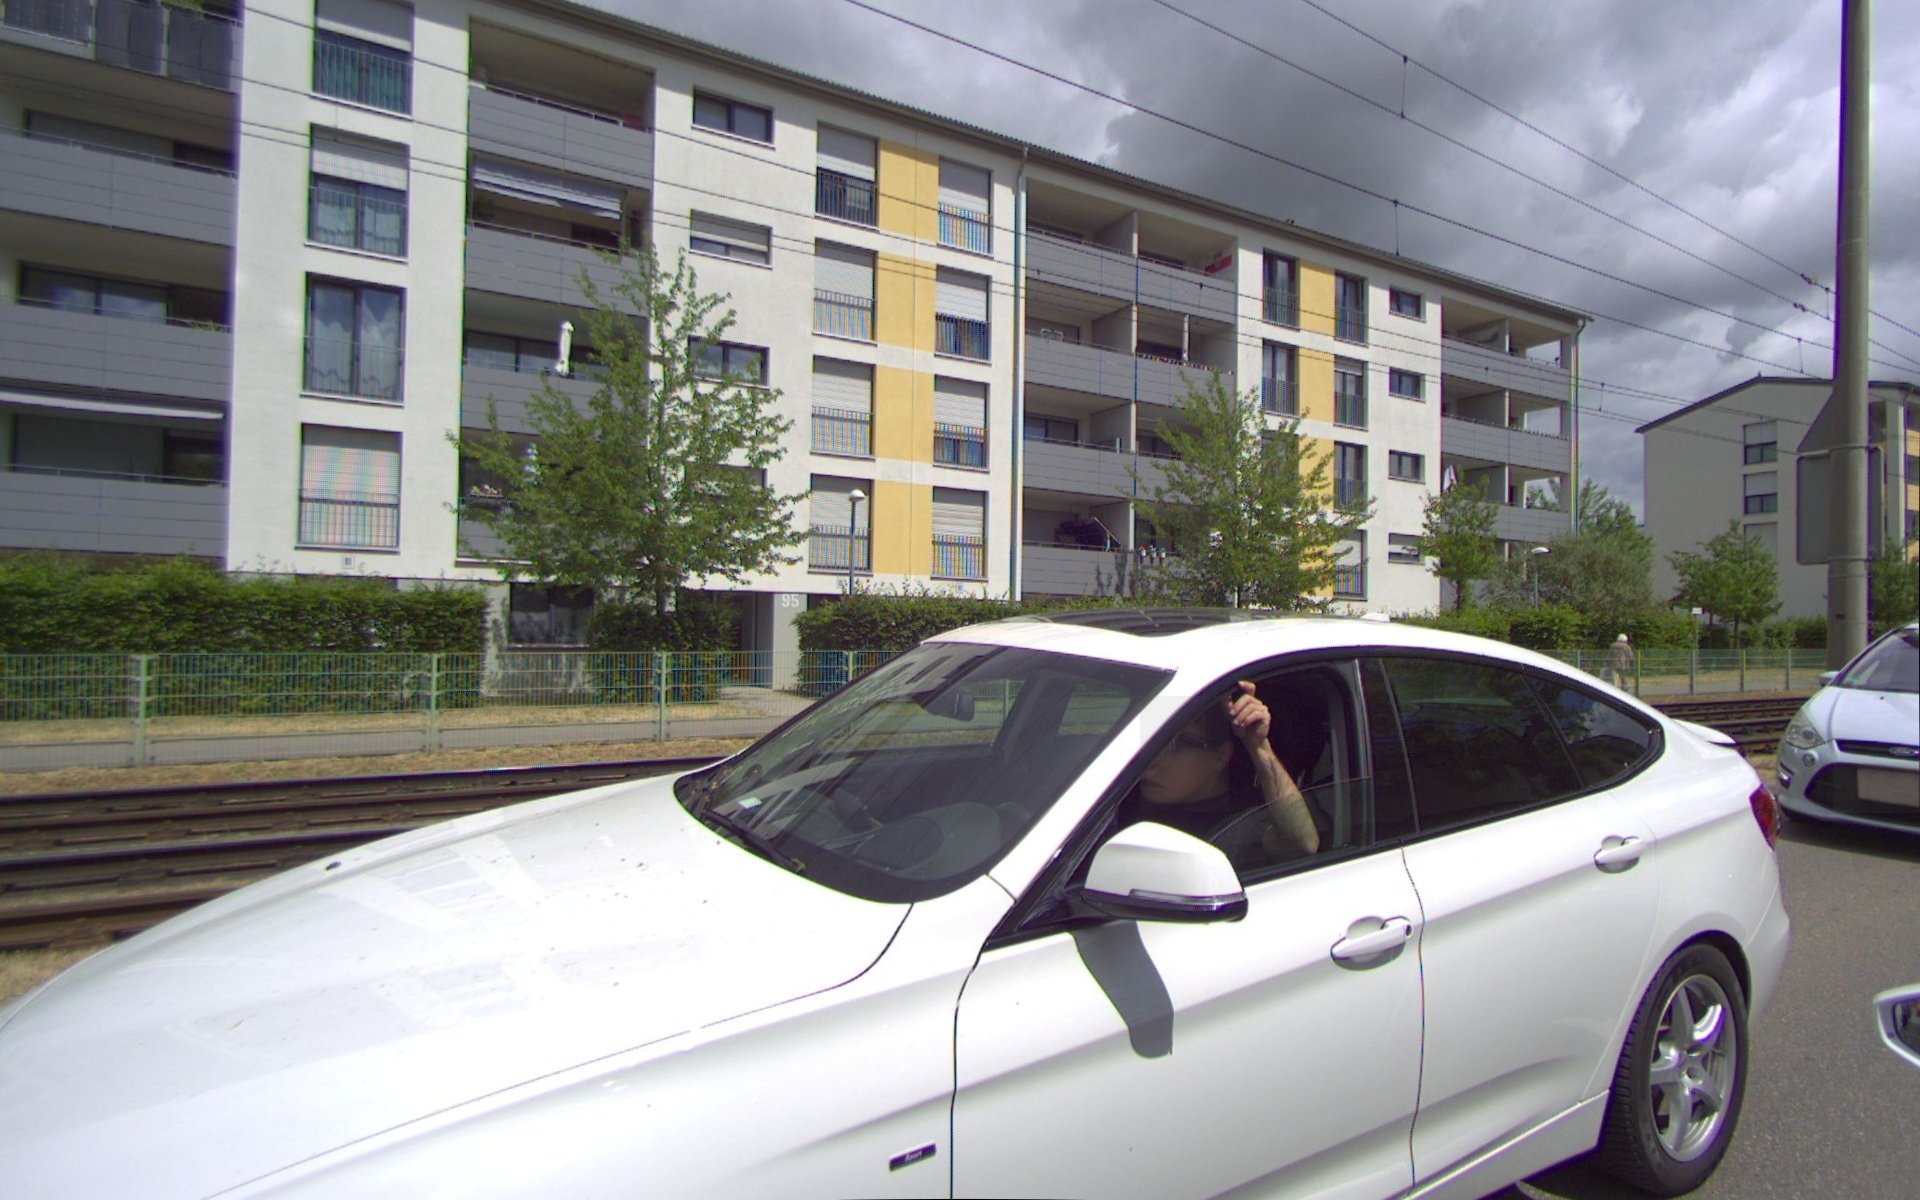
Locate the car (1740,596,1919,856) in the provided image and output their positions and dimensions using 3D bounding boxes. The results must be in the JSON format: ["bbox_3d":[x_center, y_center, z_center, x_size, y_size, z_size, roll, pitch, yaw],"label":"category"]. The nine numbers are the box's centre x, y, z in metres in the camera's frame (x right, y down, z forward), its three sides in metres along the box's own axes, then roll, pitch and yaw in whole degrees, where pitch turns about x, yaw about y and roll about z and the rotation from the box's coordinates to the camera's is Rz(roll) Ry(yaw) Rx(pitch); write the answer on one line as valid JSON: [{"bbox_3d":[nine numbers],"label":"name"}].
[{"bbox_3d":[8.002,0.854,7.534,4.547,1.635,1.809,2,0,-30],"label":"car"}]

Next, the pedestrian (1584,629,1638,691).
[{"bbox_3d":[16.344,1.490,25.215,0.984,1.503,0.792,1,-1,-30],"label":"pedestrian"}]

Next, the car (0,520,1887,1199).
[{"bbox_3d":[0.452,0.733,2.771,4.781,1.522,1.808,2,0,-31],"label":"car"}]
